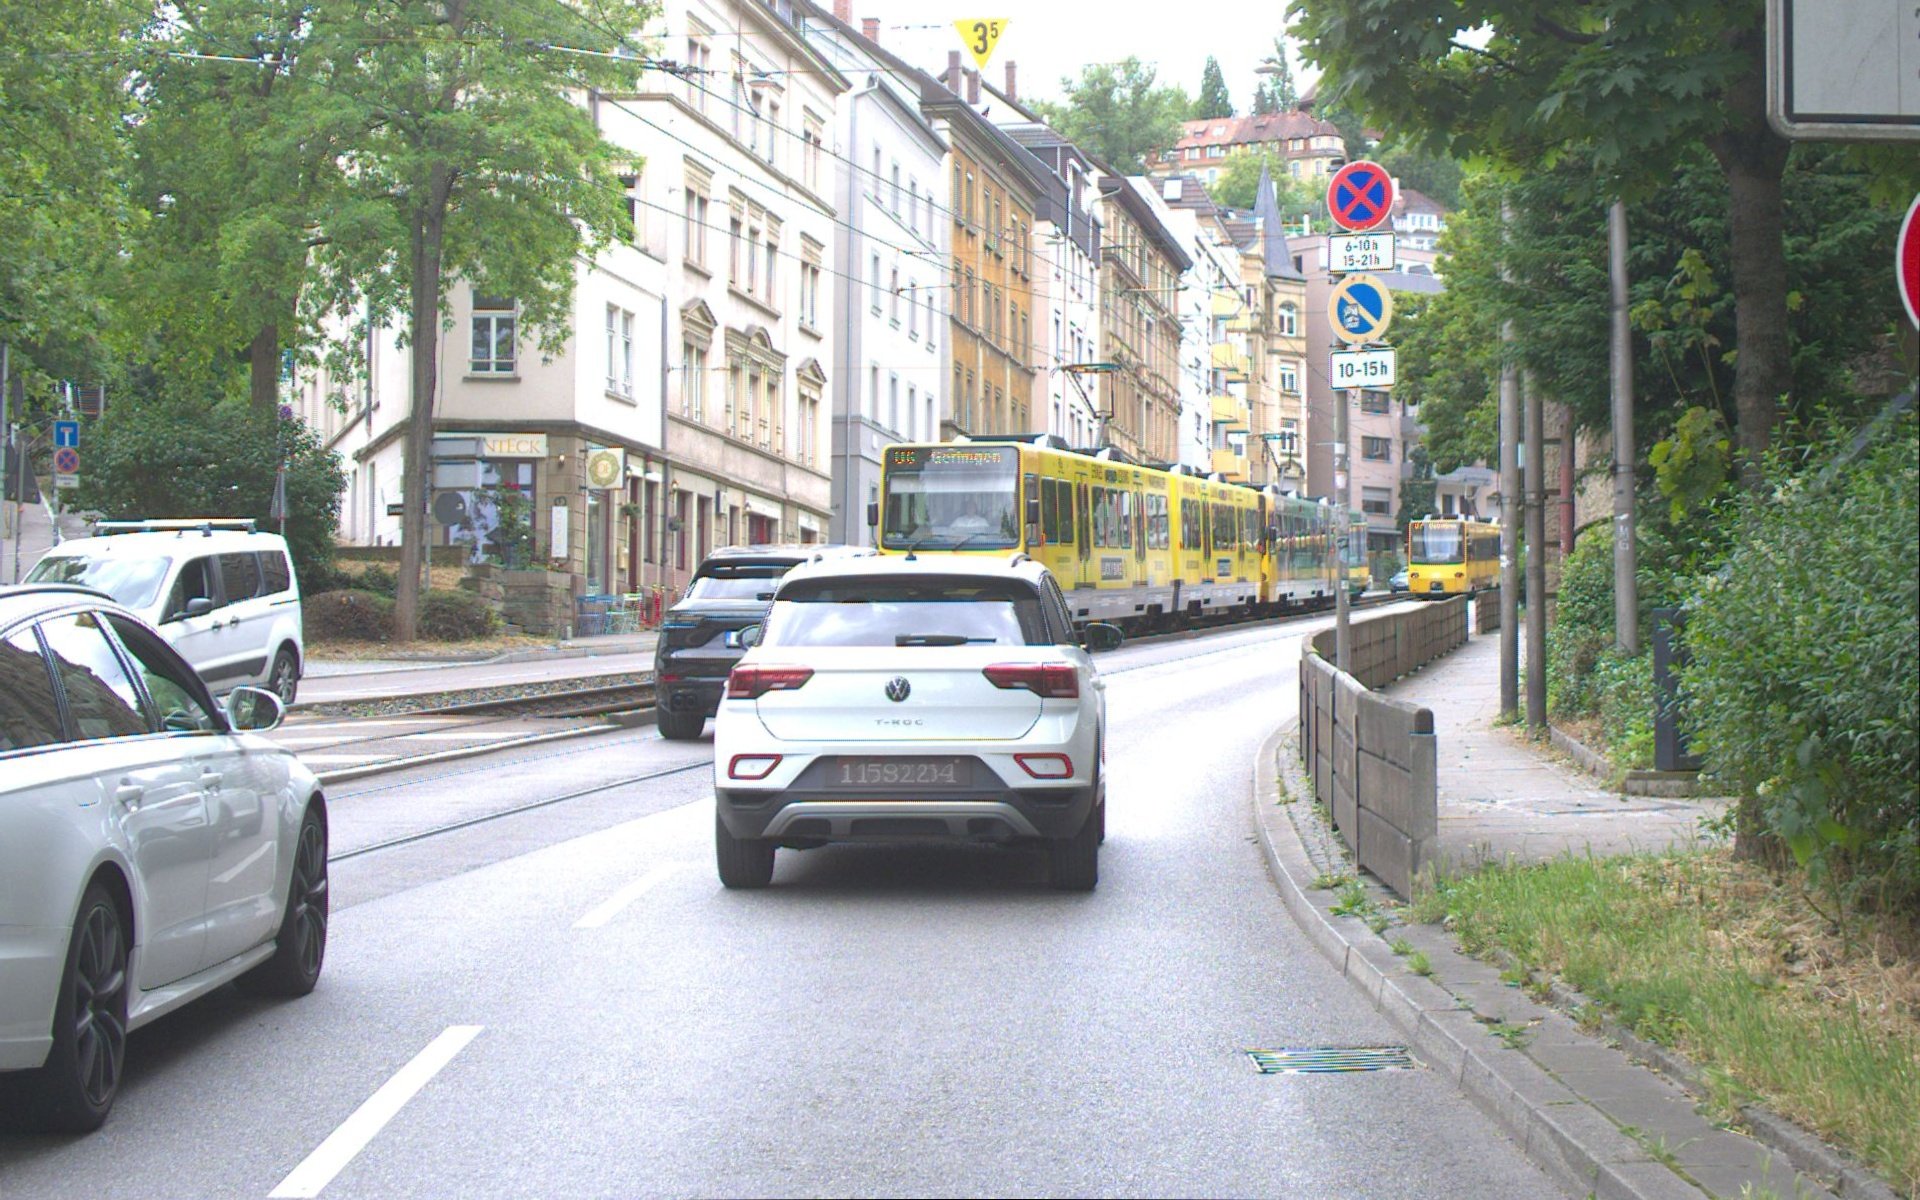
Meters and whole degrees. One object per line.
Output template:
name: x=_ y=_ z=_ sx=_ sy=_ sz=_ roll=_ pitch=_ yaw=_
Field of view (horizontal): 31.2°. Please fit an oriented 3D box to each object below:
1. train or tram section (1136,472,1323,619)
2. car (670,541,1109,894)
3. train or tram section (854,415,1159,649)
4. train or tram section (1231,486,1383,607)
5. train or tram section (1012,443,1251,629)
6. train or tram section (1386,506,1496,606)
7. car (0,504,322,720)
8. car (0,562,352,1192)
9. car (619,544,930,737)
train or tram section: x=7.897 y=-1.477 z=97.614 sx=2.878 sy=3.713 sz=18.747 roll=2 pitch=1 yaw=12
car: x=-0.227 y=0.495 z=17.120 sx=1.879 sy=1.549 sz=4.000 roll=0 pitch=1 yaw=3
train or tram section: x=1.157 y=-1.173 z=62.804 sx=2.884 sy=3.713 sz=14.849 roll=2 pitch=1 yaw=11
train or tram section: x=11.893 y=-1.744 z=116.027 sx=2.878 sy=3.713 sz=18.746 roll=2 pitch=1 yaw=12
train or tram section: x=4.265 y=-1.388 z=79.259 sx=2.877 sy=3.713 sz=18.694 roll=2 pitch=1 yaw=11
train or tram section: x=21.663 y=-1.947 z=153.752 sx=3.019 sy=4.199 sz=18.847 roll=0 pitch=1 yaw=14
car: x=-8.053 y=0.057 z=33.464 sx=1.948 sy=1.939 sz=5.000 roll=0 pitch=1 yaw=11
car: x=-3.178 y=0.630 z=10.209 sx=1.879 sy=1.450 sz=4.617 roll=0 pitch=1 yaw=1
car: x=-1.540 y=0.306 z=30.222 sx=2.038 sy=1.566 sz=4.357 roll=0 pitch=1 yaw=6
